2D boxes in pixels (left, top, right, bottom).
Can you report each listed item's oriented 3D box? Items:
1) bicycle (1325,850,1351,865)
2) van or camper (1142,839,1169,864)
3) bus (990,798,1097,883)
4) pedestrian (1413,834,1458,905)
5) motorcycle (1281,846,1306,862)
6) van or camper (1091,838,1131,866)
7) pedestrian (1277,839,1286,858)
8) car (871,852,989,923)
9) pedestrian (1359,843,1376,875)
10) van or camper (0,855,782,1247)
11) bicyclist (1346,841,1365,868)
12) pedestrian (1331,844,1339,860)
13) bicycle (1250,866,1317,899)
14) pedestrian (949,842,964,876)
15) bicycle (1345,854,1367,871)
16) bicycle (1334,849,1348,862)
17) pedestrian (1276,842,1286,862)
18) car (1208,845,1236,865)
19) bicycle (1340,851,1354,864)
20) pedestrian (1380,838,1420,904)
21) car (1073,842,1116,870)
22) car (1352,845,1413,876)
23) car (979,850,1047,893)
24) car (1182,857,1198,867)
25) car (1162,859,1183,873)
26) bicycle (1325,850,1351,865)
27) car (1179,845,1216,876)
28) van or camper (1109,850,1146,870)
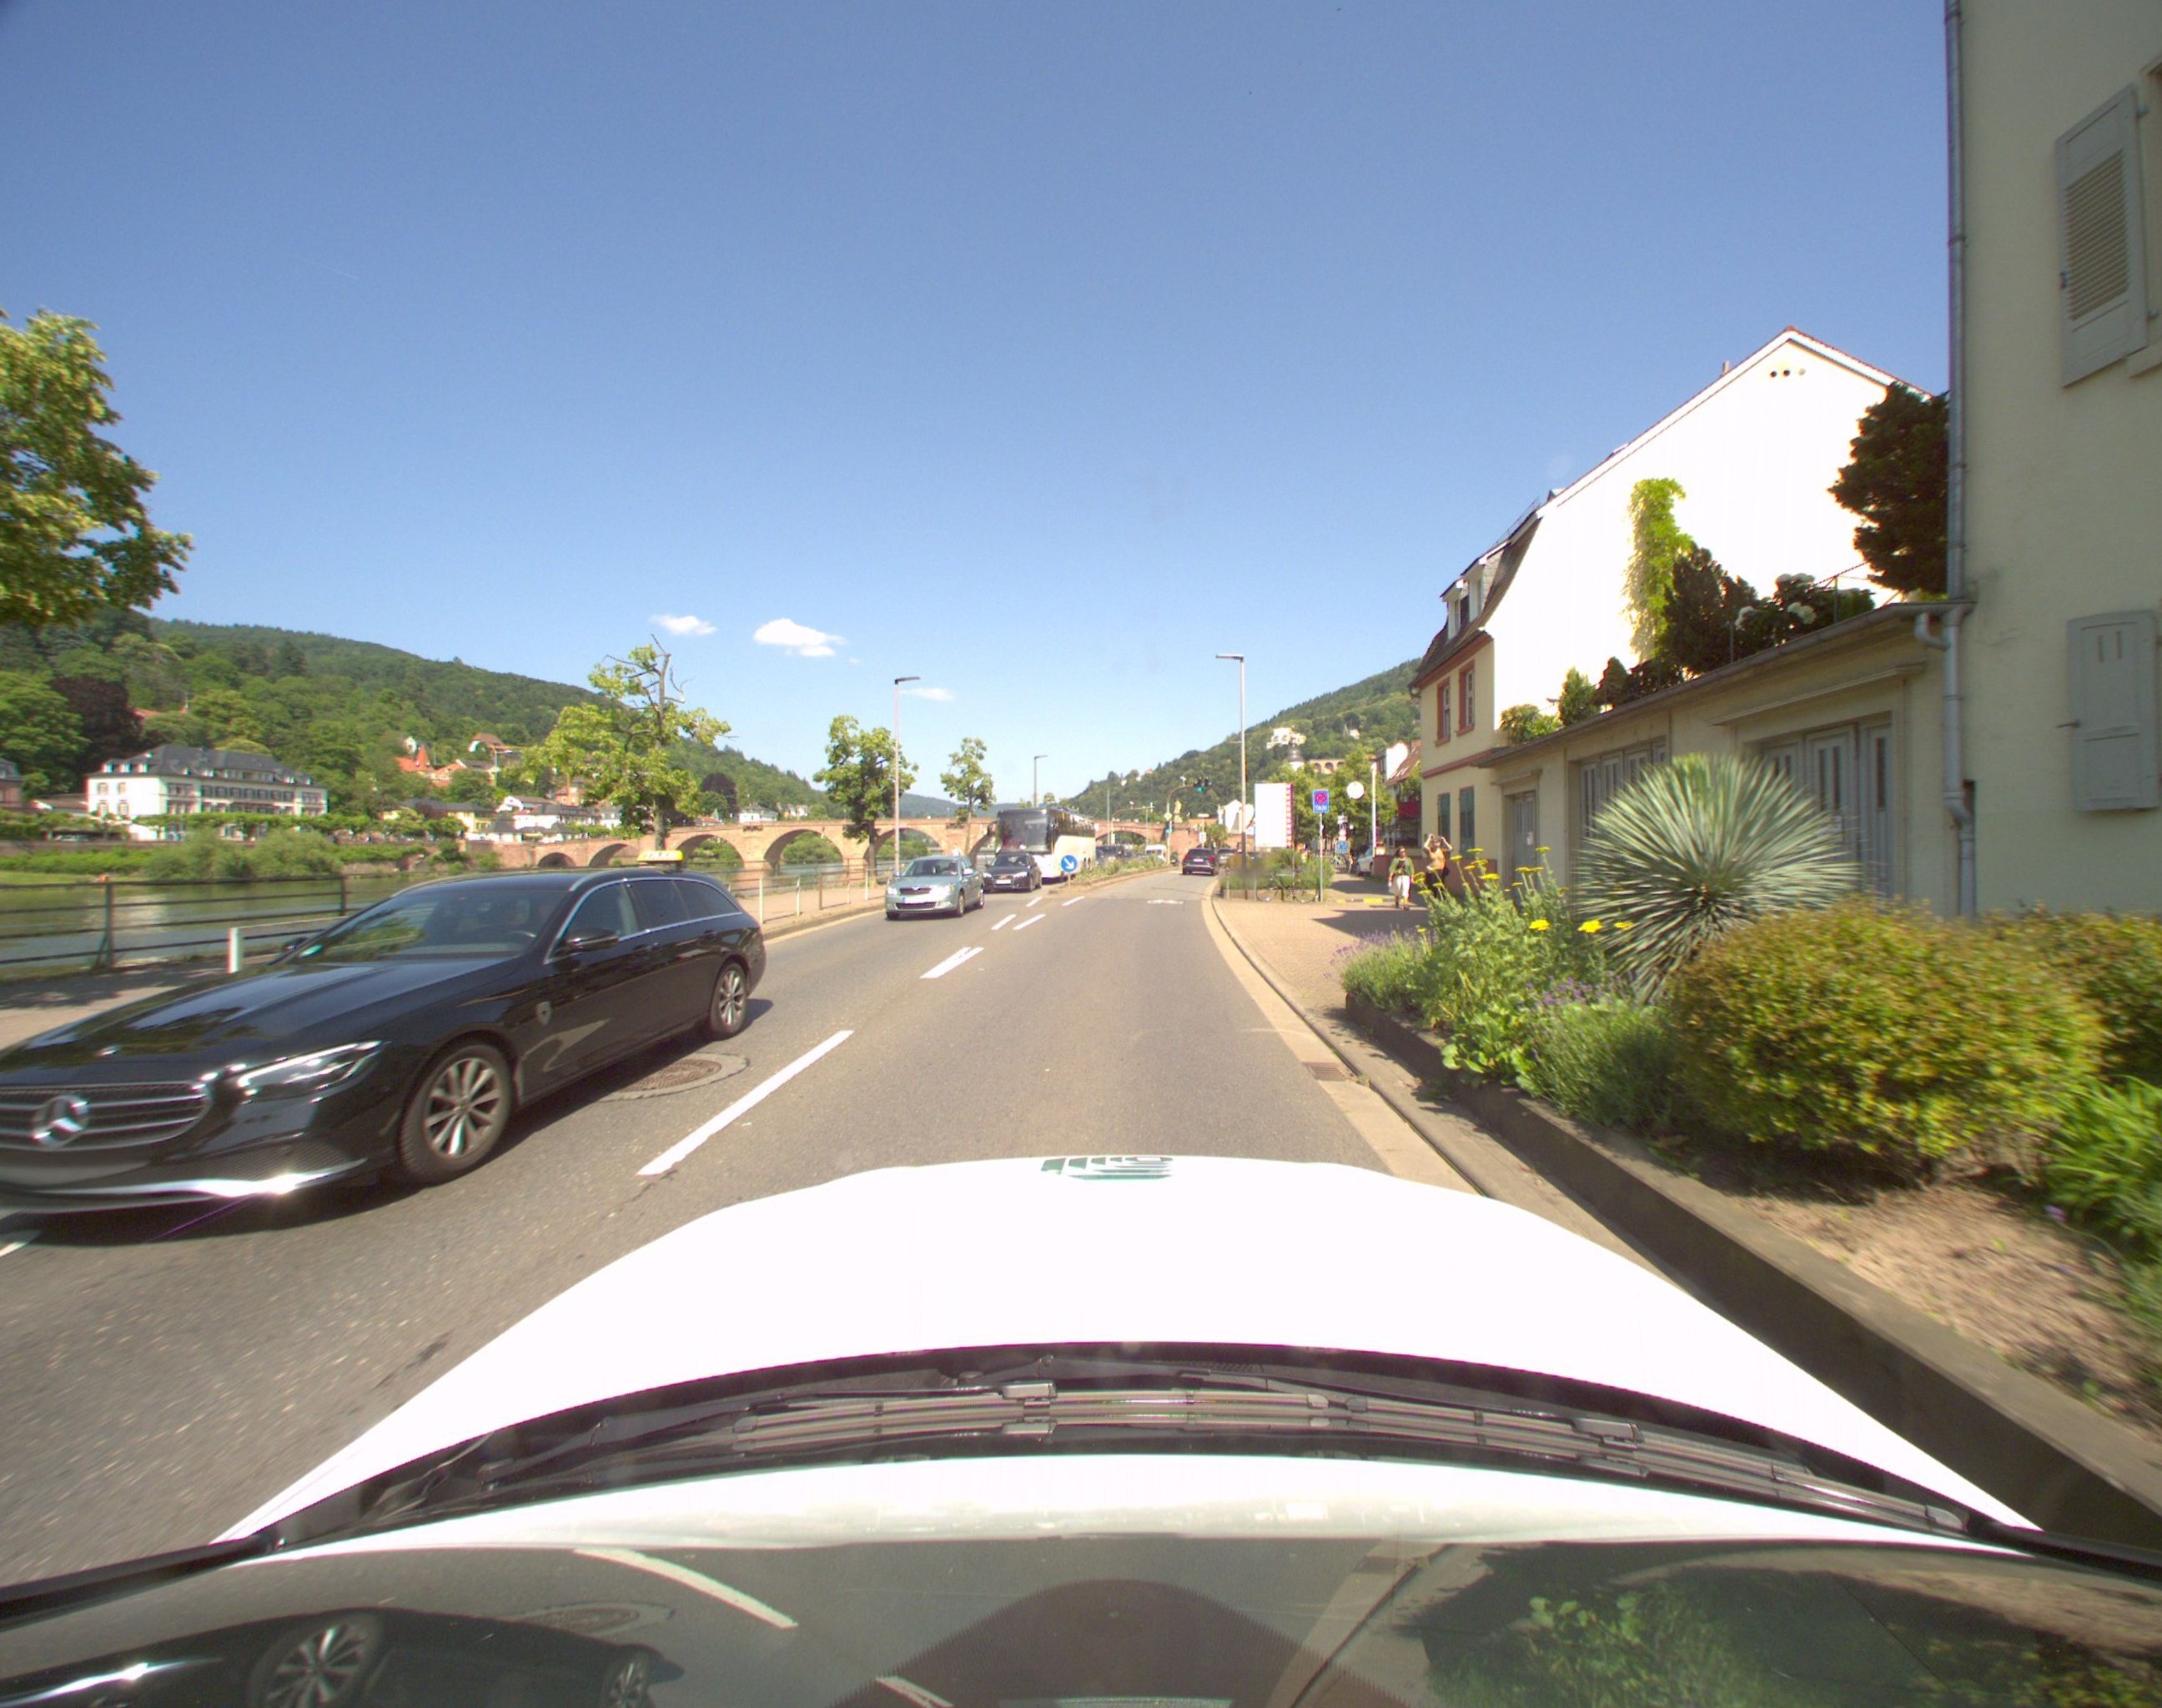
[{"bbox_3d":[21.347,0.289,67.747,1.980,1.198,0.524,2,1,25],"label":"bicycle"},{"bbox_3d":[7.986,-0.243,87.057,1.979,2.450,5.515,-2,-1,14],"label":"van or camper"},{"bbox_3d":[-1.481,-0.526,40.892,2.615,3.564,13.017,-1,-1,10],"label":"bus"},{"bbox_3d":[8.731,0.374,20.076,0.734,1.698,0.935,-1,0,6],"label":"pedestrian"},{"bbox_3d":[20.366,-0.028,78.174,0.768,1.465,2.273,0,-2,-36],"label":"motorcycle"},{"bbox_3d":[2.219,-0.147,59.055,1.980,1.873,5.197,-2,0,12],"label":"van or camper"},{"bbox_3d":[18.349,-0.492,74.484,0.690,1.677,0.765,-2,0,5],"label":"pedestrian"},{"bbox_3d":[-3.533,0.727,19.946,1.806,1.428,4.314,-2,1,3],"label":"car"},{"bbox_3d":[16.608,0.292,47.246,0.758,1.858,0.611,-2,0,5],"label":"pedestrian"},{"bbox_3d":[-3.916,0.781,5.501,1.987,1.454,4.682,-2,0,0],"label":"van or camper"},{"bbox_3d":[16.183,0.049,48.064,0.764,1.583,1.089,-1,0,0],"label":"bicyclist"},{"bbox_3d":[26.539,-0.183,85.104,0.702,1.653,0.709,-1,0,14],"label":"pedestrian"},{"bbox_3d":[5.810,0.825,23.450,1.803,0.878,0.502,1,1,1],"label":"bicycle"},{"bbox_3d":[-6.530,0.243,42.751,0.617,1.780,0.663,0,0,5],"label":"pedestrian"},{"bbox_3d":[16.161,0.486,47.866,0.747,0.964,1.783,0,0,2],"label":"bicycle"},{"bbox_3d":[22.210,0.155,69.476,0.588,1.067,2.078,-1,-1,32],"label":"bicycle"},{"bbox_3d":[18.296,-0.197,74.581,0.690,1.771,0.765,-2,0,5],"label":"pedestrian"},{"bbox_3d":[10.859,0.062,62.506,1.913,1.461,4.849,-1,0,13],"label":"car"},{"bbox_3d":[22.597,0.326,69.119,0.588,1.067,2.078,-1,-2,32],"label":"bicycle"},{"bbox_3d":[7.860,0.412,20.091,0.758,1.595,0.697,0,0,5],"label":"pedestrian"},{"bbox_3d":[0.943,0.101,52.588,1.982,1.598,5.170,-3,0,9],"label":"car"},{"bbox_3d":[15.984,0.318,43.463,1.868,1.577,4.733,0,0,5],"label":"car"},{"bbox_3d":[-2.435,0.597,30.268,1.808,1.429,4.198,-2,0,5],"label":"car"},{"bbox_3d":[16.313,1.192,121.891,1.938,1.413,4.234,-3,-2,14],"label":"car"},{"bbox_3d":[10.627,1.389,94.005,1.806,1.456,4.946,-3,0,13],"label":"car"},{"bbox_3d":[21.549,0.306,68.218,1.993,1.198,0.524,1,1,25],"label":"bicycle"},{"bbox_3d":[6.601,0.331,45.950,1.915,1.553,4.844,3,1,9],"label":"car"},{"bbox_3d":[3.716,0.470,63.903,1.980,1.477,5.083,-2,-1,13],"label":"van or camper"}]
